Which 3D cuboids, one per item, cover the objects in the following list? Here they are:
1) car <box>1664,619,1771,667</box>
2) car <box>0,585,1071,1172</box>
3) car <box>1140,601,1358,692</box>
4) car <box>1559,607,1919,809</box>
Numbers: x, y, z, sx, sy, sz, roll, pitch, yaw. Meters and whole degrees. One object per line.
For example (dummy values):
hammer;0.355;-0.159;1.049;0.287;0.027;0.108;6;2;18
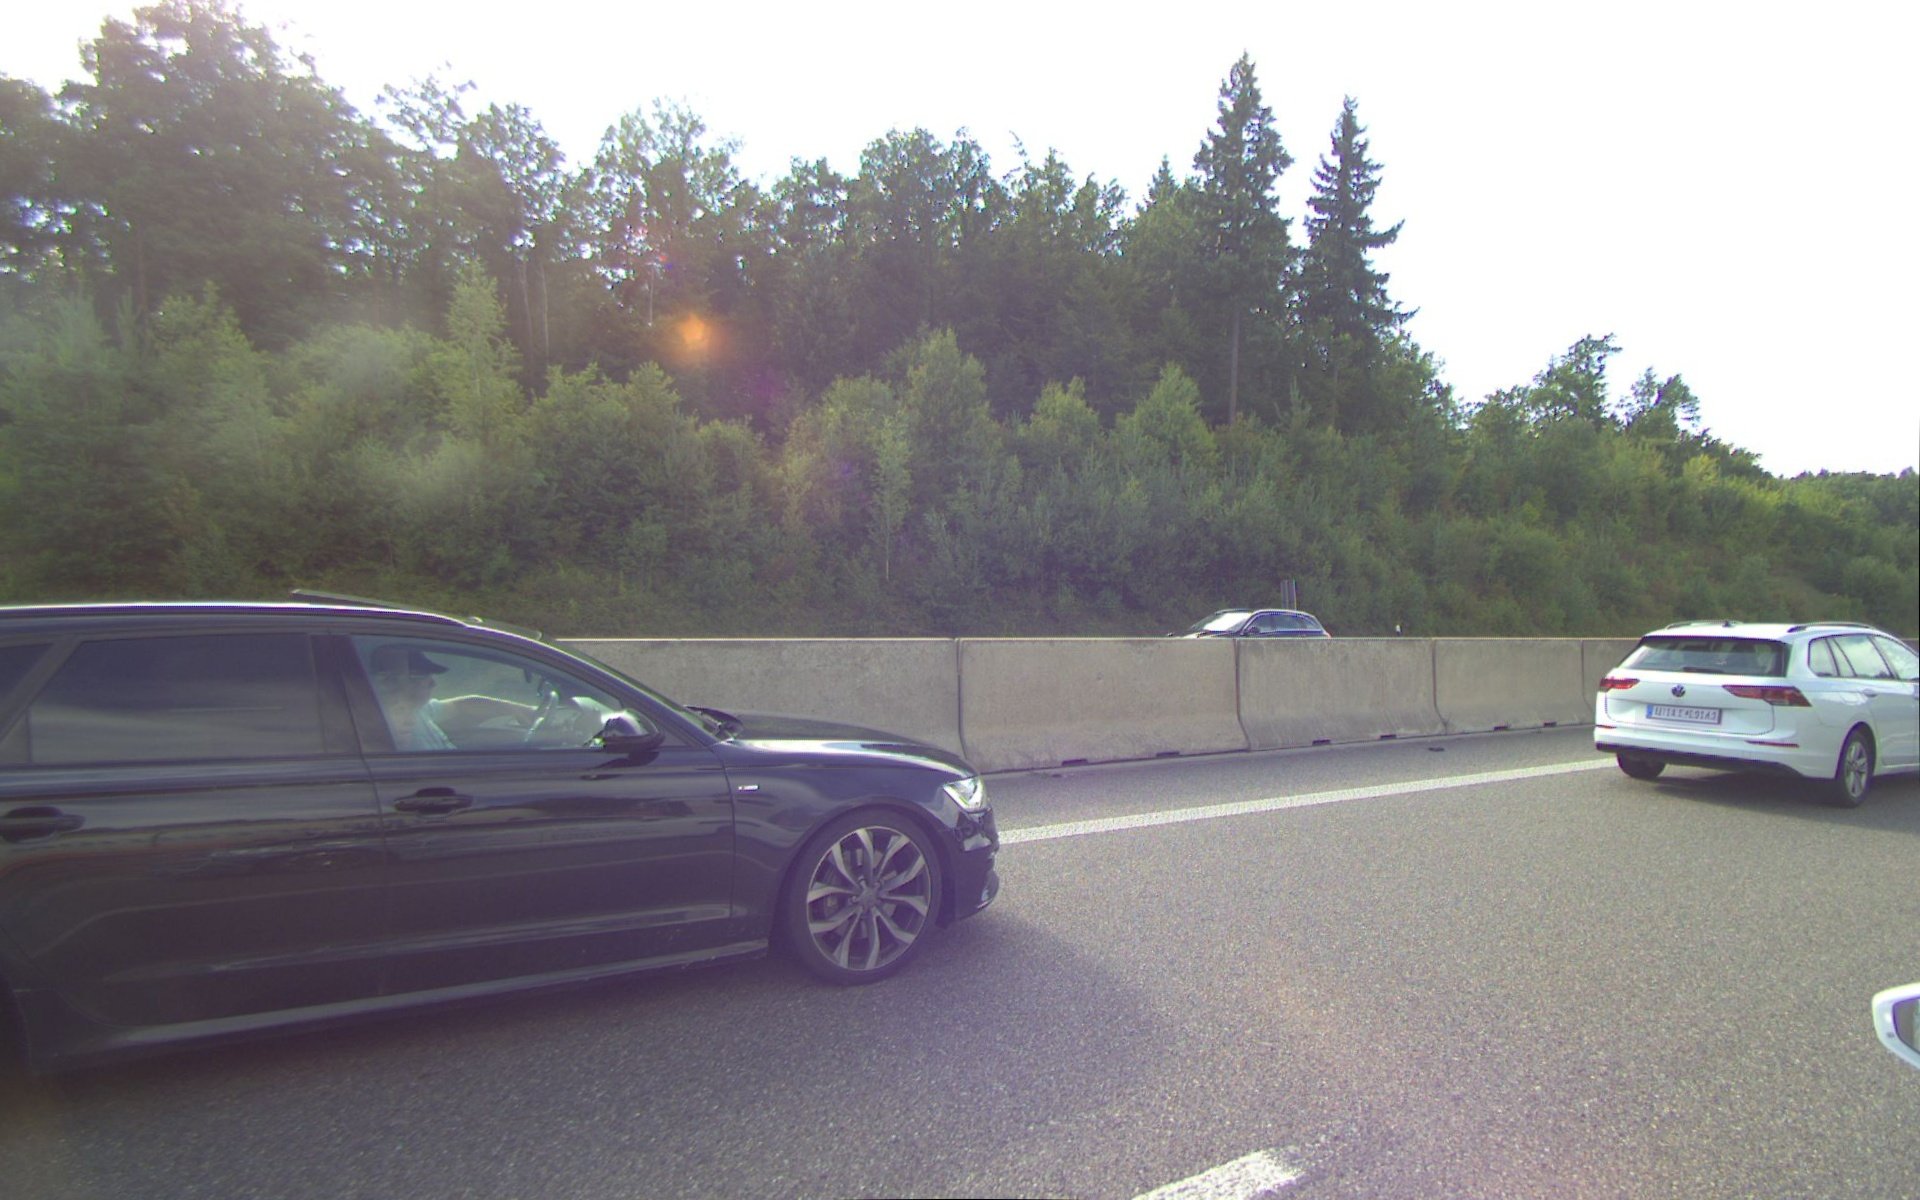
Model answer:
car;31.341;1.747;41.526;4.868;1.834;1.843;1;0;-31
car;-2.017;0.713;3.820;4.692;1.475;1.834;1;0;-30
car;6.478;0.982;22.316;4.868;1.834;1.843;1;0;-31
car;7.671;0.863;9.293;4.257;1.480;1.796;2;-1;-30
